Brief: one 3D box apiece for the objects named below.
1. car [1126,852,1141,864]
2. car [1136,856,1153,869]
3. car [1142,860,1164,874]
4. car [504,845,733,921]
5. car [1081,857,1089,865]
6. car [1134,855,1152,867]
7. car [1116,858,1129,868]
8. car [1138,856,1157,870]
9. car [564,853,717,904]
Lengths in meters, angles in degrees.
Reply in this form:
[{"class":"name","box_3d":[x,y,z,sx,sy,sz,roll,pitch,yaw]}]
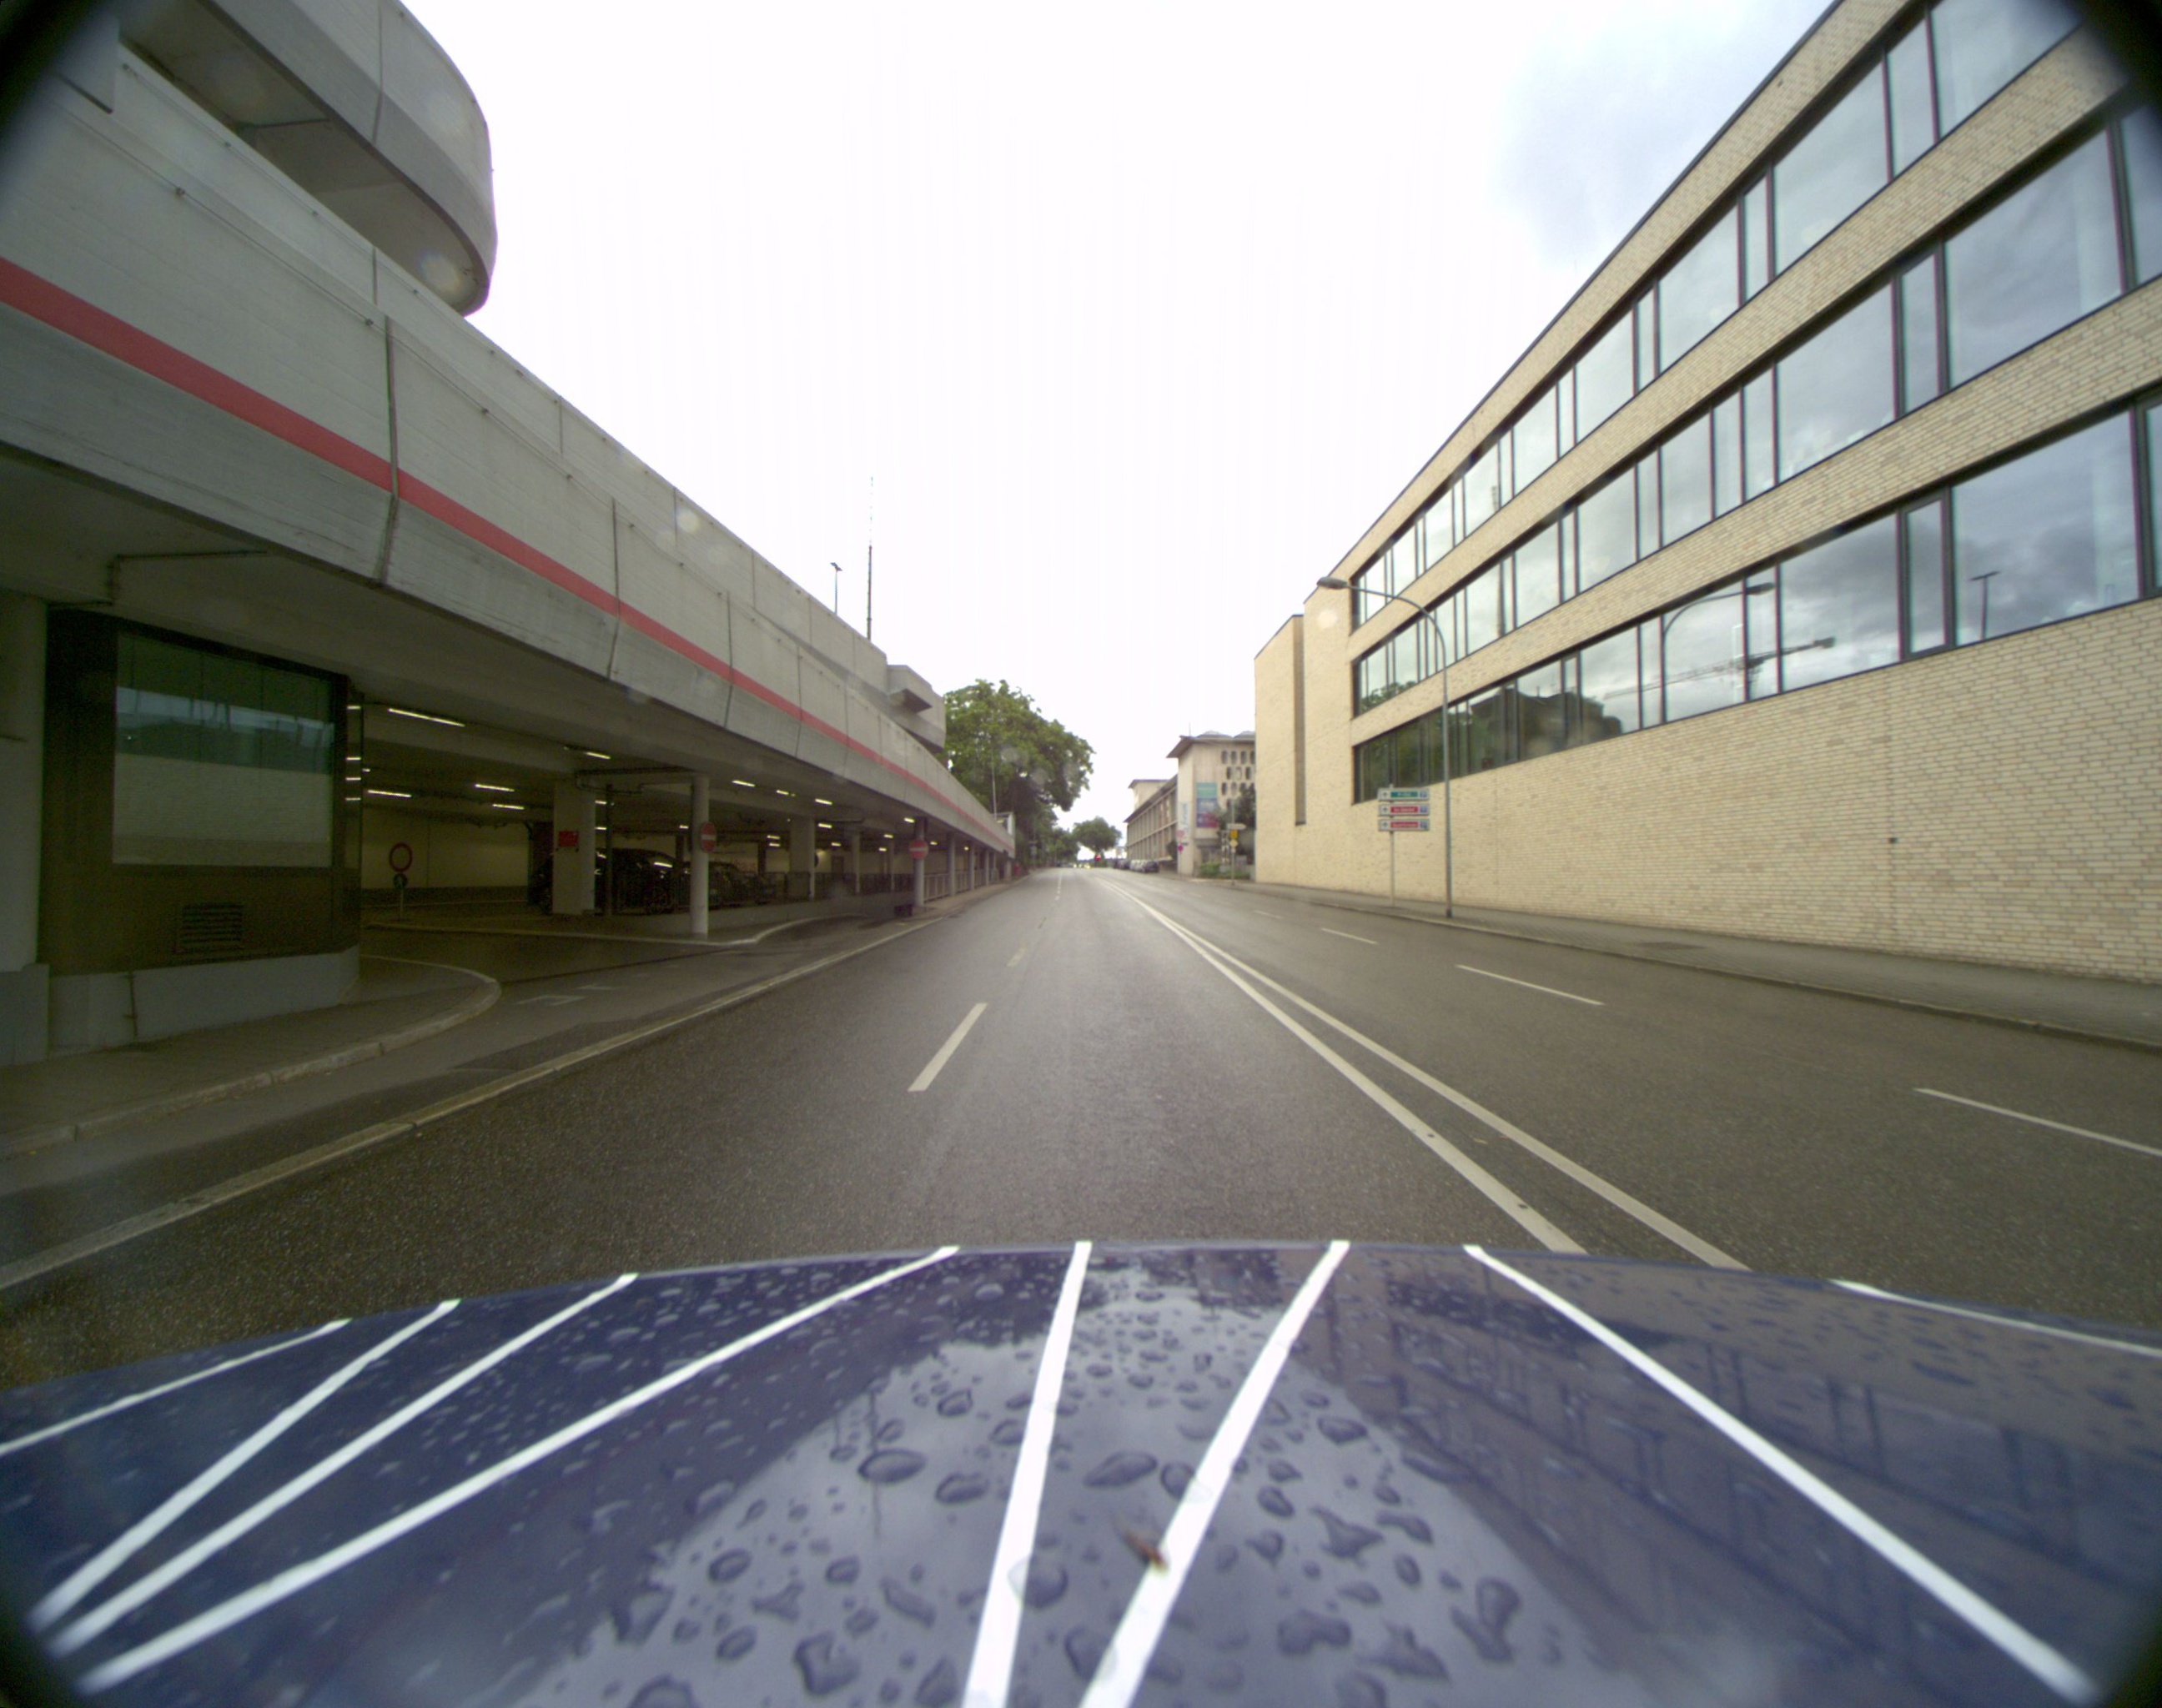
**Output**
[{"class":"car","box_3d":[8.377,0.631,121.490,1.999,1.701,3.999,-3,1,-1]},{"class":"car","box_3d":[8.491,1.108,101.816,1.998,1.503,3.999,-2,1,0]},{"class":"car","box_3d":[8.603,1.571,91.043,1.999,1.520,3.999,-2,1,-2]},{"class":"car","box_3d":[-11.288,0.695,18.697,4.585,1.630,1.823,2,-1,6]},{"class":"car","box_3d":[1.039,1.859,208.443,1.806,2.002,3.997,-2,1,-6]},{"class":"car","box_3d":[8.702,0.979,106.970,1.999,1.482,4.185,-2,1,-1]},{"class":"car","box_3d":[7.804,1.754,142.668,1.999,1.637,3.998,-3,2,-2]},{"class":"car","box_3d":[8.443,1.152,96.492,1.999,1.632,3.999,-2,1,-1]},{"class":"car","box_3d":[-13.628,0.727,23.616,3.731,1.496,1.808,0,-1,5]}]
